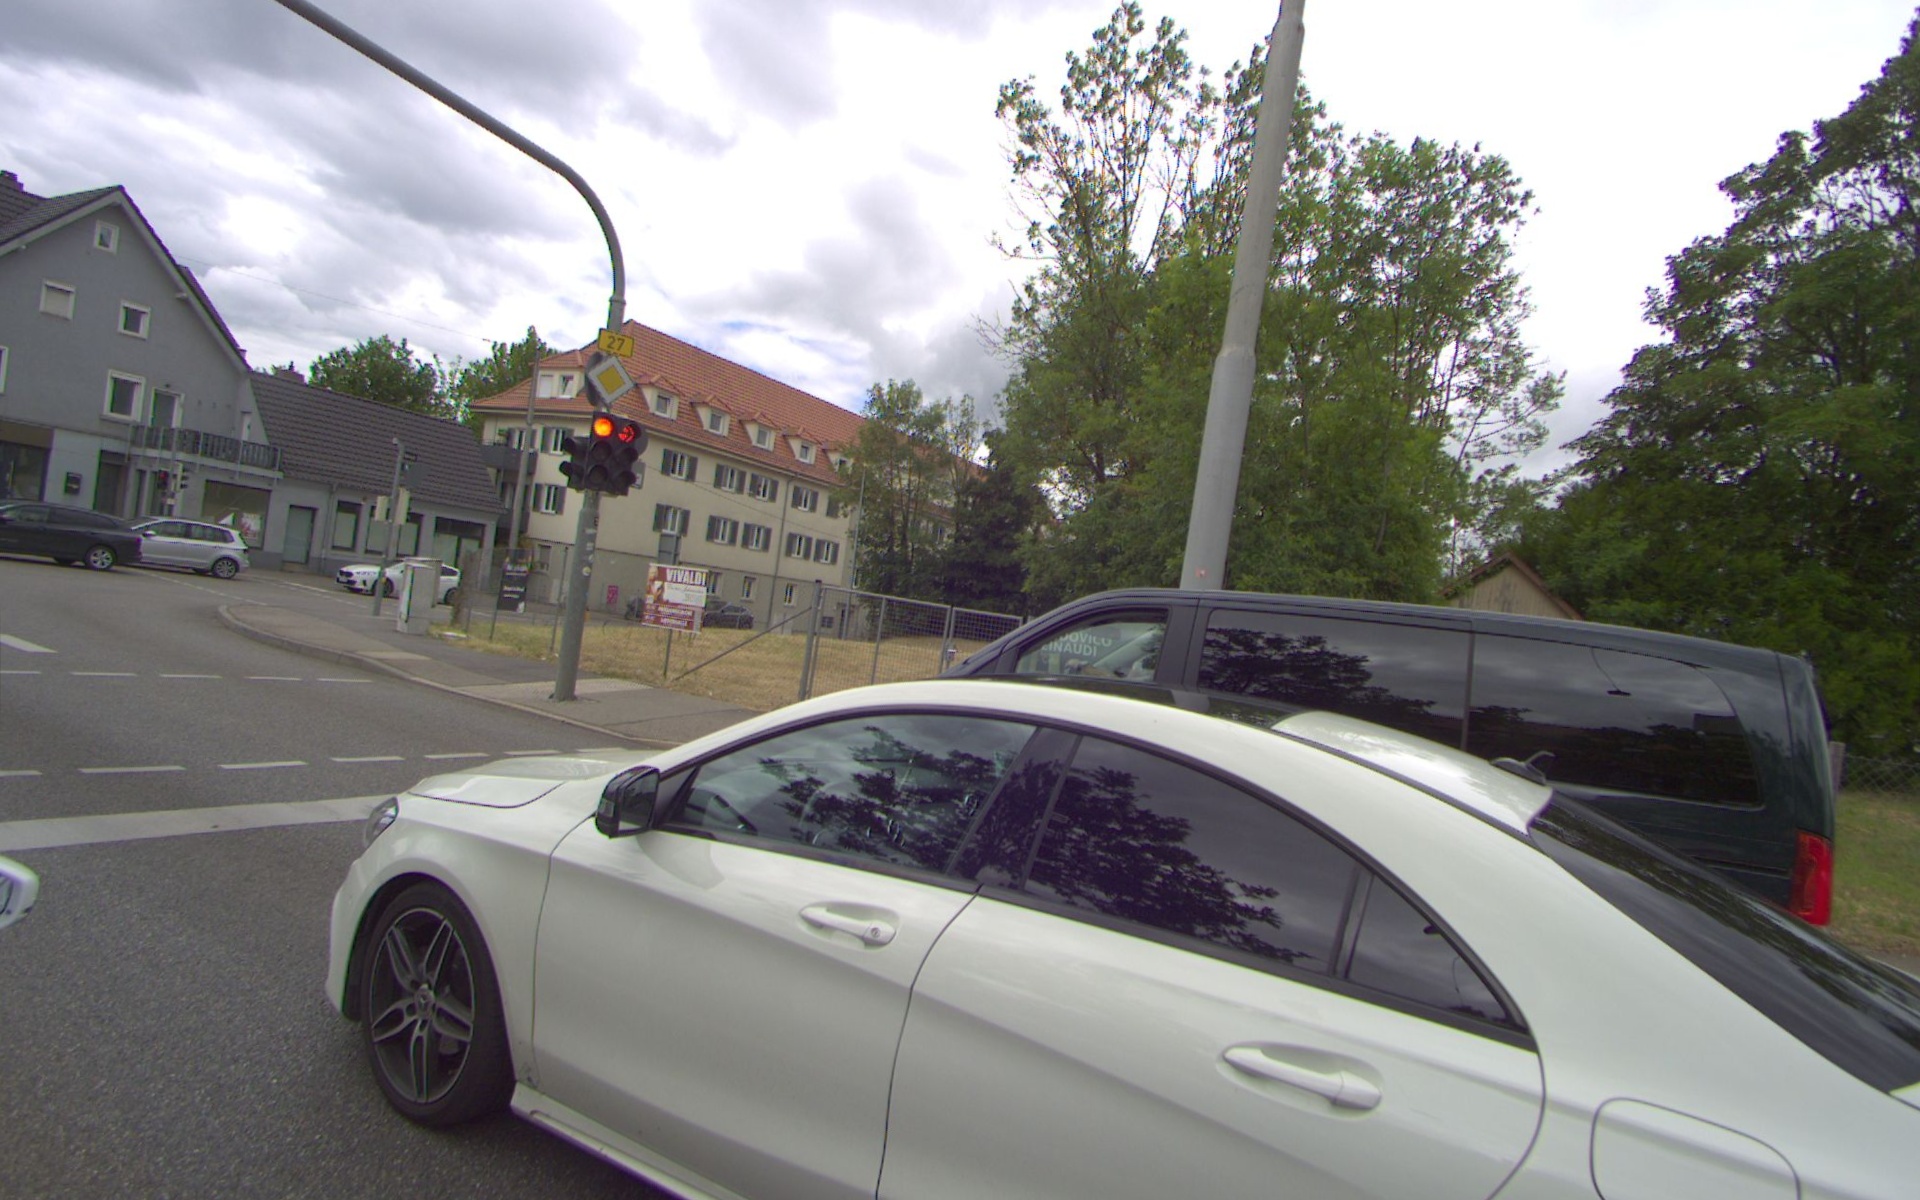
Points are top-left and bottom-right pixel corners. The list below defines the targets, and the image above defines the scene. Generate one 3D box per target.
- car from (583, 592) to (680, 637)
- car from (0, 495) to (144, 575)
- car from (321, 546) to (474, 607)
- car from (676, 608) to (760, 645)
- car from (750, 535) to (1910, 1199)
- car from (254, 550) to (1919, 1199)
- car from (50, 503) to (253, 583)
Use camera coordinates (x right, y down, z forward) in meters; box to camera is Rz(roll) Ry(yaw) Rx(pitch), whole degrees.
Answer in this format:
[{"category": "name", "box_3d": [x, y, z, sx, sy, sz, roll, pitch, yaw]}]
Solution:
[{"category": "car", "box_3d": [-15.523, 0.734, 47.661, 1.839, 1.554, 3.996, 7, -2, 32]}, {"category": "car", "box_3d": [-22.531, -1.680, 24.056, 1.684, 1.498, 4.288, 8, -1, 25]}, {"category": "car", "box_3d": [-20.010, -0.802, 35.939, 1.967, 1.494, 4.251, 7, -2, 31]}, {"category": "car", "box_3d": [-12.628, 1.396, 52.650, 1.839, 1.393, 3.996, 7, -2, 32]}, {"category": "car", "box_3d": [1.411, 0.895, 5.211, 4.631, 1.860, 1.953, 7, -2, 32]}, {"category": "car", "box_3d": [0.157, 0.844, 2.641, 4.305, 1.451, 1.651, 7, 0, 32]}, {"category": "car", "box_3d": [-23.314, -1.600, 29.182, 1.797, 1.557, 4.112, 7, -3, 29]}]
